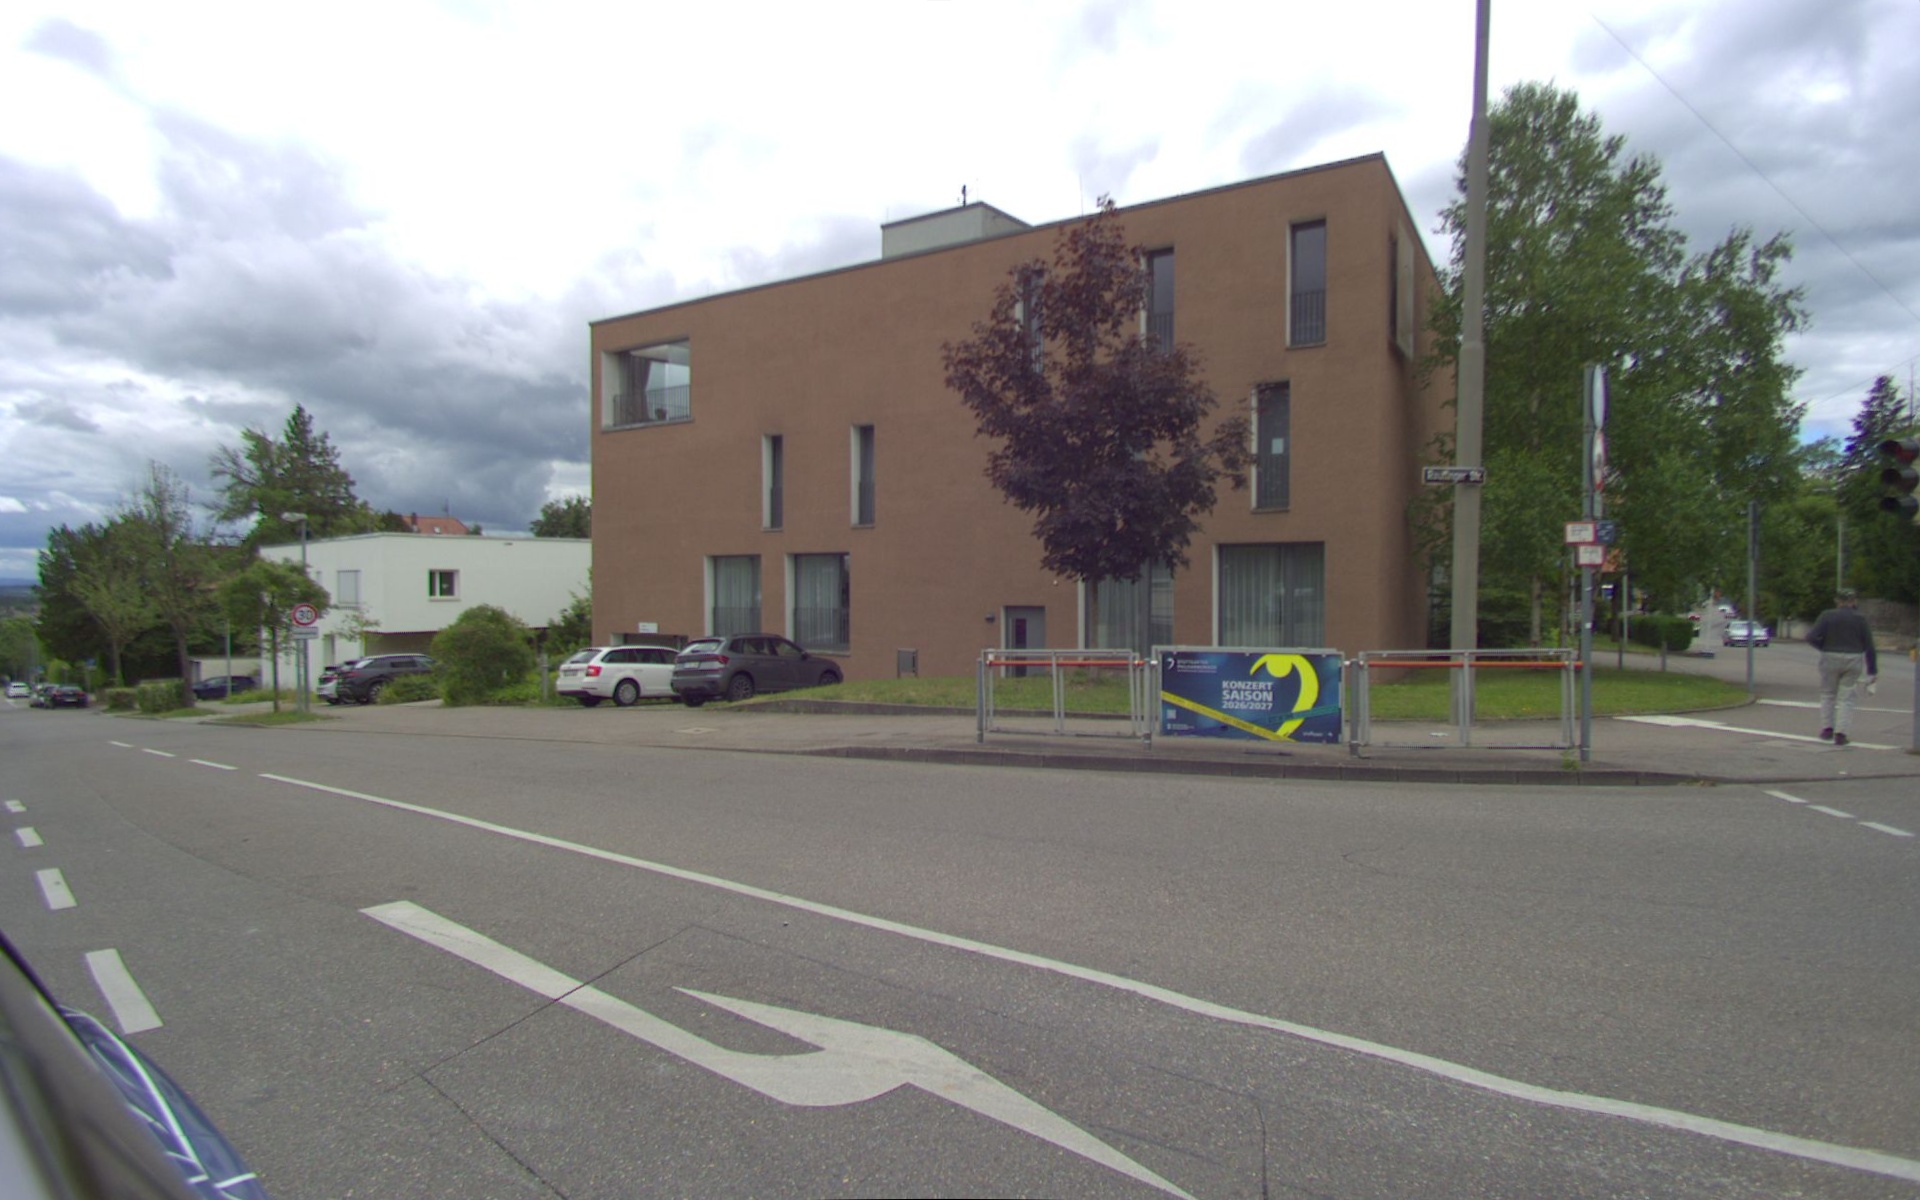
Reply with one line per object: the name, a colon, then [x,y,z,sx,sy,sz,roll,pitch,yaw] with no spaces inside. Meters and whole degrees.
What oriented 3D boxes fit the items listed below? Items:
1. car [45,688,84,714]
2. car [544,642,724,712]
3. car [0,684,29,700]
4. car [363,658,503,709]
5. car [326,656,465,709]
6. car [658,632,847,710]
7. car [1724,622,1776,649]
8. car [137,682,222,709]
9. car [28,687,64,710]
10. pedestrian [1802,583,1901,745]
car: [-54.939,6.167,62.057,1.638,1.432,4.003,0,-4,-44]
car: [-7.999,1.872,25.113,1.724,1.497,3.950,-5,-4,37]
car: [-95.915,9.295,102.339,4.362,1.432,1.861,-3,-3,38]
car: [-18.235,2.875,35.141,1.727,1.497,3.943,-6,-4,43]
car: [-19.978,2.895,35.926,1.793,1.608,3.943,-6,-4,43]
car: [-4.526,1.546,22.532,1.724,1.497,3.950,-5,-4,37]
car: [44.677,2.005,57.324,1.703,1.424,4.379,-2,-1,30]
car: [-46.977,5.734,60.923,3.939,1.296,1.665,0,-4,-43]
car: [-61.562,6.625,68.135,1.638,1.432,4.371,0,-4,-44]
pedestrian: [9.516,0.666,10.802,0.729,1.646,0.684,1,-3,-44]
